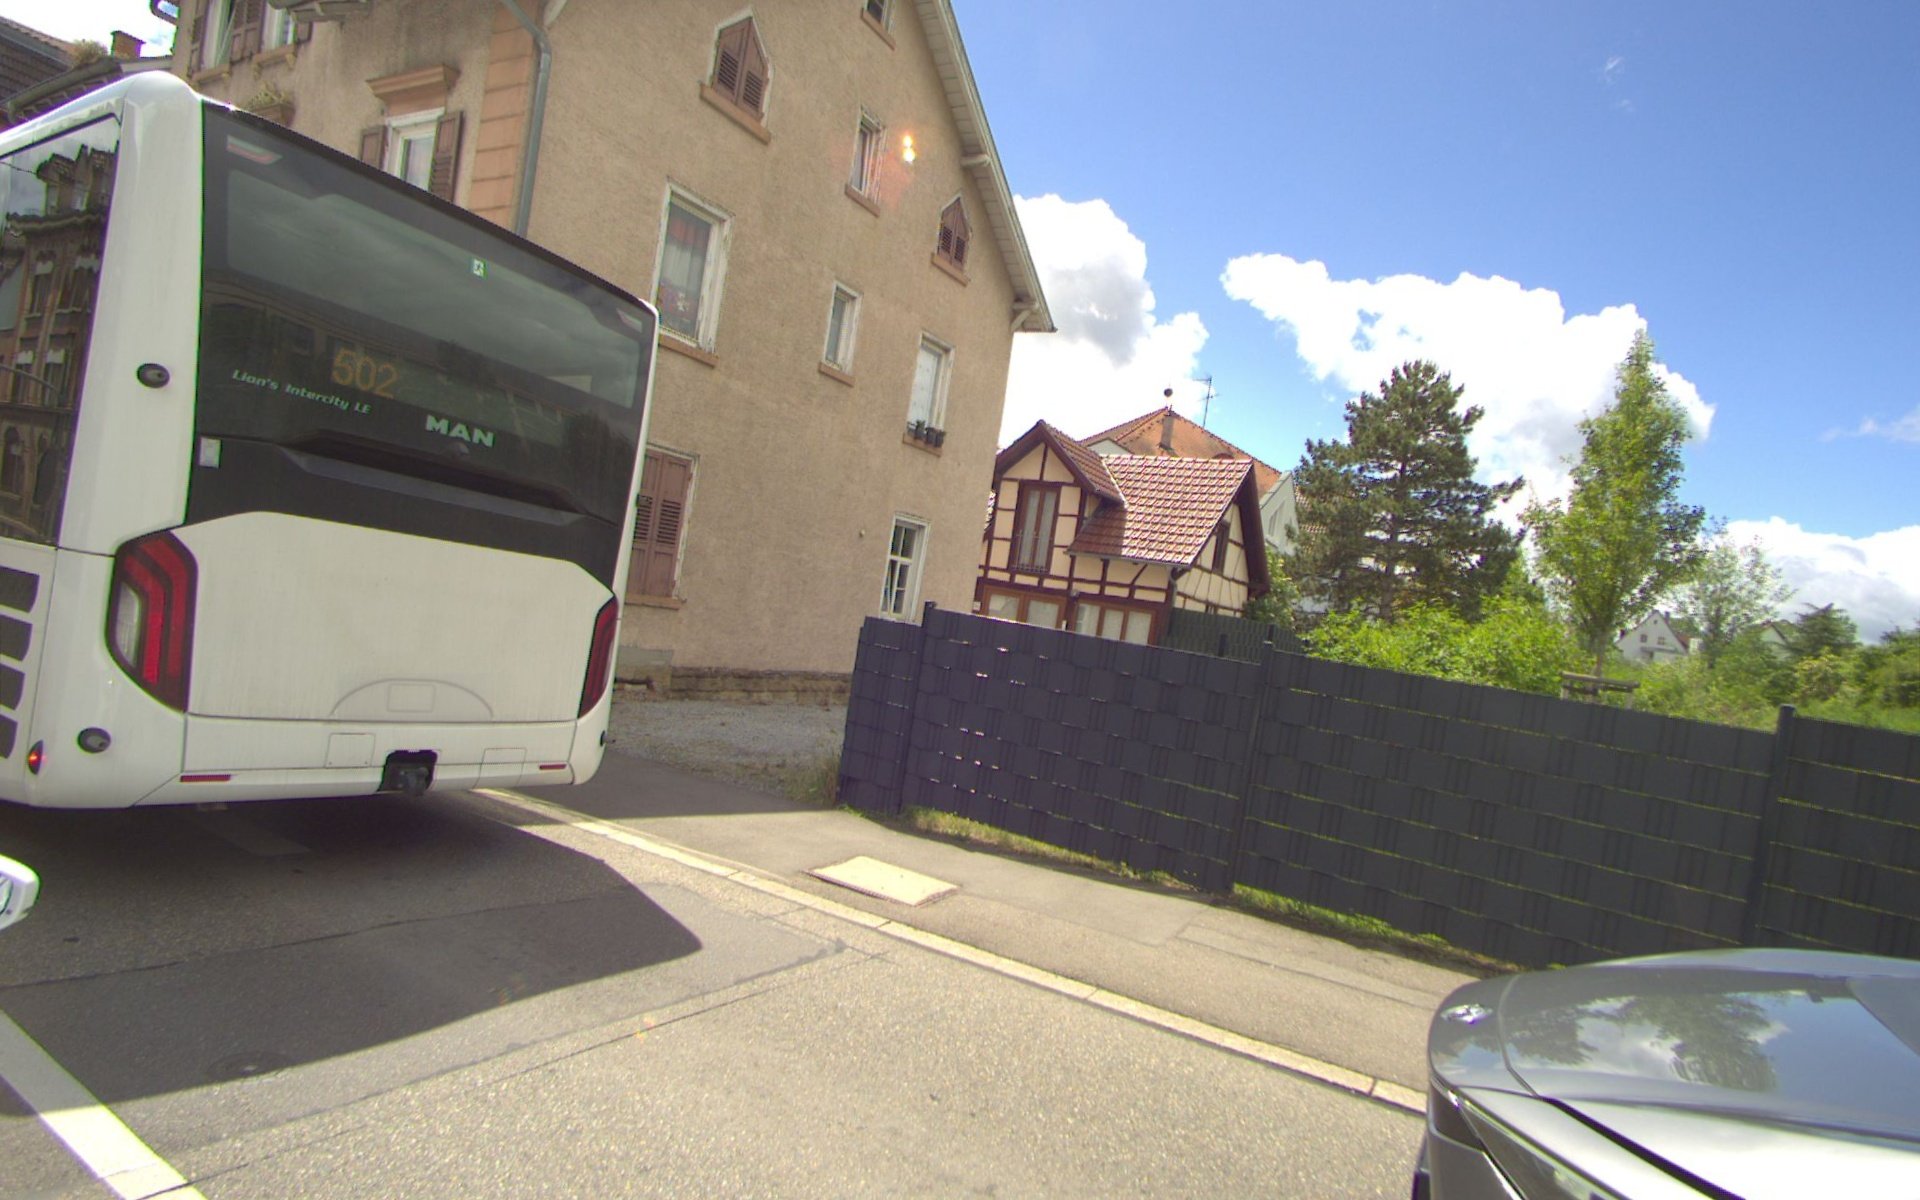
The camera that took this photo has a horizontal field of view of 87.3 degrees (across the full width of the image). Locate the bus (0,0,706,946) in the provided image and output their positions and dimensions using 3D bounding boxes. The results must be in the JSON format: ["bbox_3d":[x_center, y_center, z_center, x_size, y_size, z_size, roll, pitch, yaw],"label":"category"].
[{"bbox_3d":[-7.439,-0.940,7.676,12.255,3.194,2.676,7,0,32],"label":"bus"}]

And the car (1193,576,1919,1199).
[{"bbox_3d":[2.773,1.125,1.053,4.605,1.631,1.924,7,-2,32],"label":"car"}]
